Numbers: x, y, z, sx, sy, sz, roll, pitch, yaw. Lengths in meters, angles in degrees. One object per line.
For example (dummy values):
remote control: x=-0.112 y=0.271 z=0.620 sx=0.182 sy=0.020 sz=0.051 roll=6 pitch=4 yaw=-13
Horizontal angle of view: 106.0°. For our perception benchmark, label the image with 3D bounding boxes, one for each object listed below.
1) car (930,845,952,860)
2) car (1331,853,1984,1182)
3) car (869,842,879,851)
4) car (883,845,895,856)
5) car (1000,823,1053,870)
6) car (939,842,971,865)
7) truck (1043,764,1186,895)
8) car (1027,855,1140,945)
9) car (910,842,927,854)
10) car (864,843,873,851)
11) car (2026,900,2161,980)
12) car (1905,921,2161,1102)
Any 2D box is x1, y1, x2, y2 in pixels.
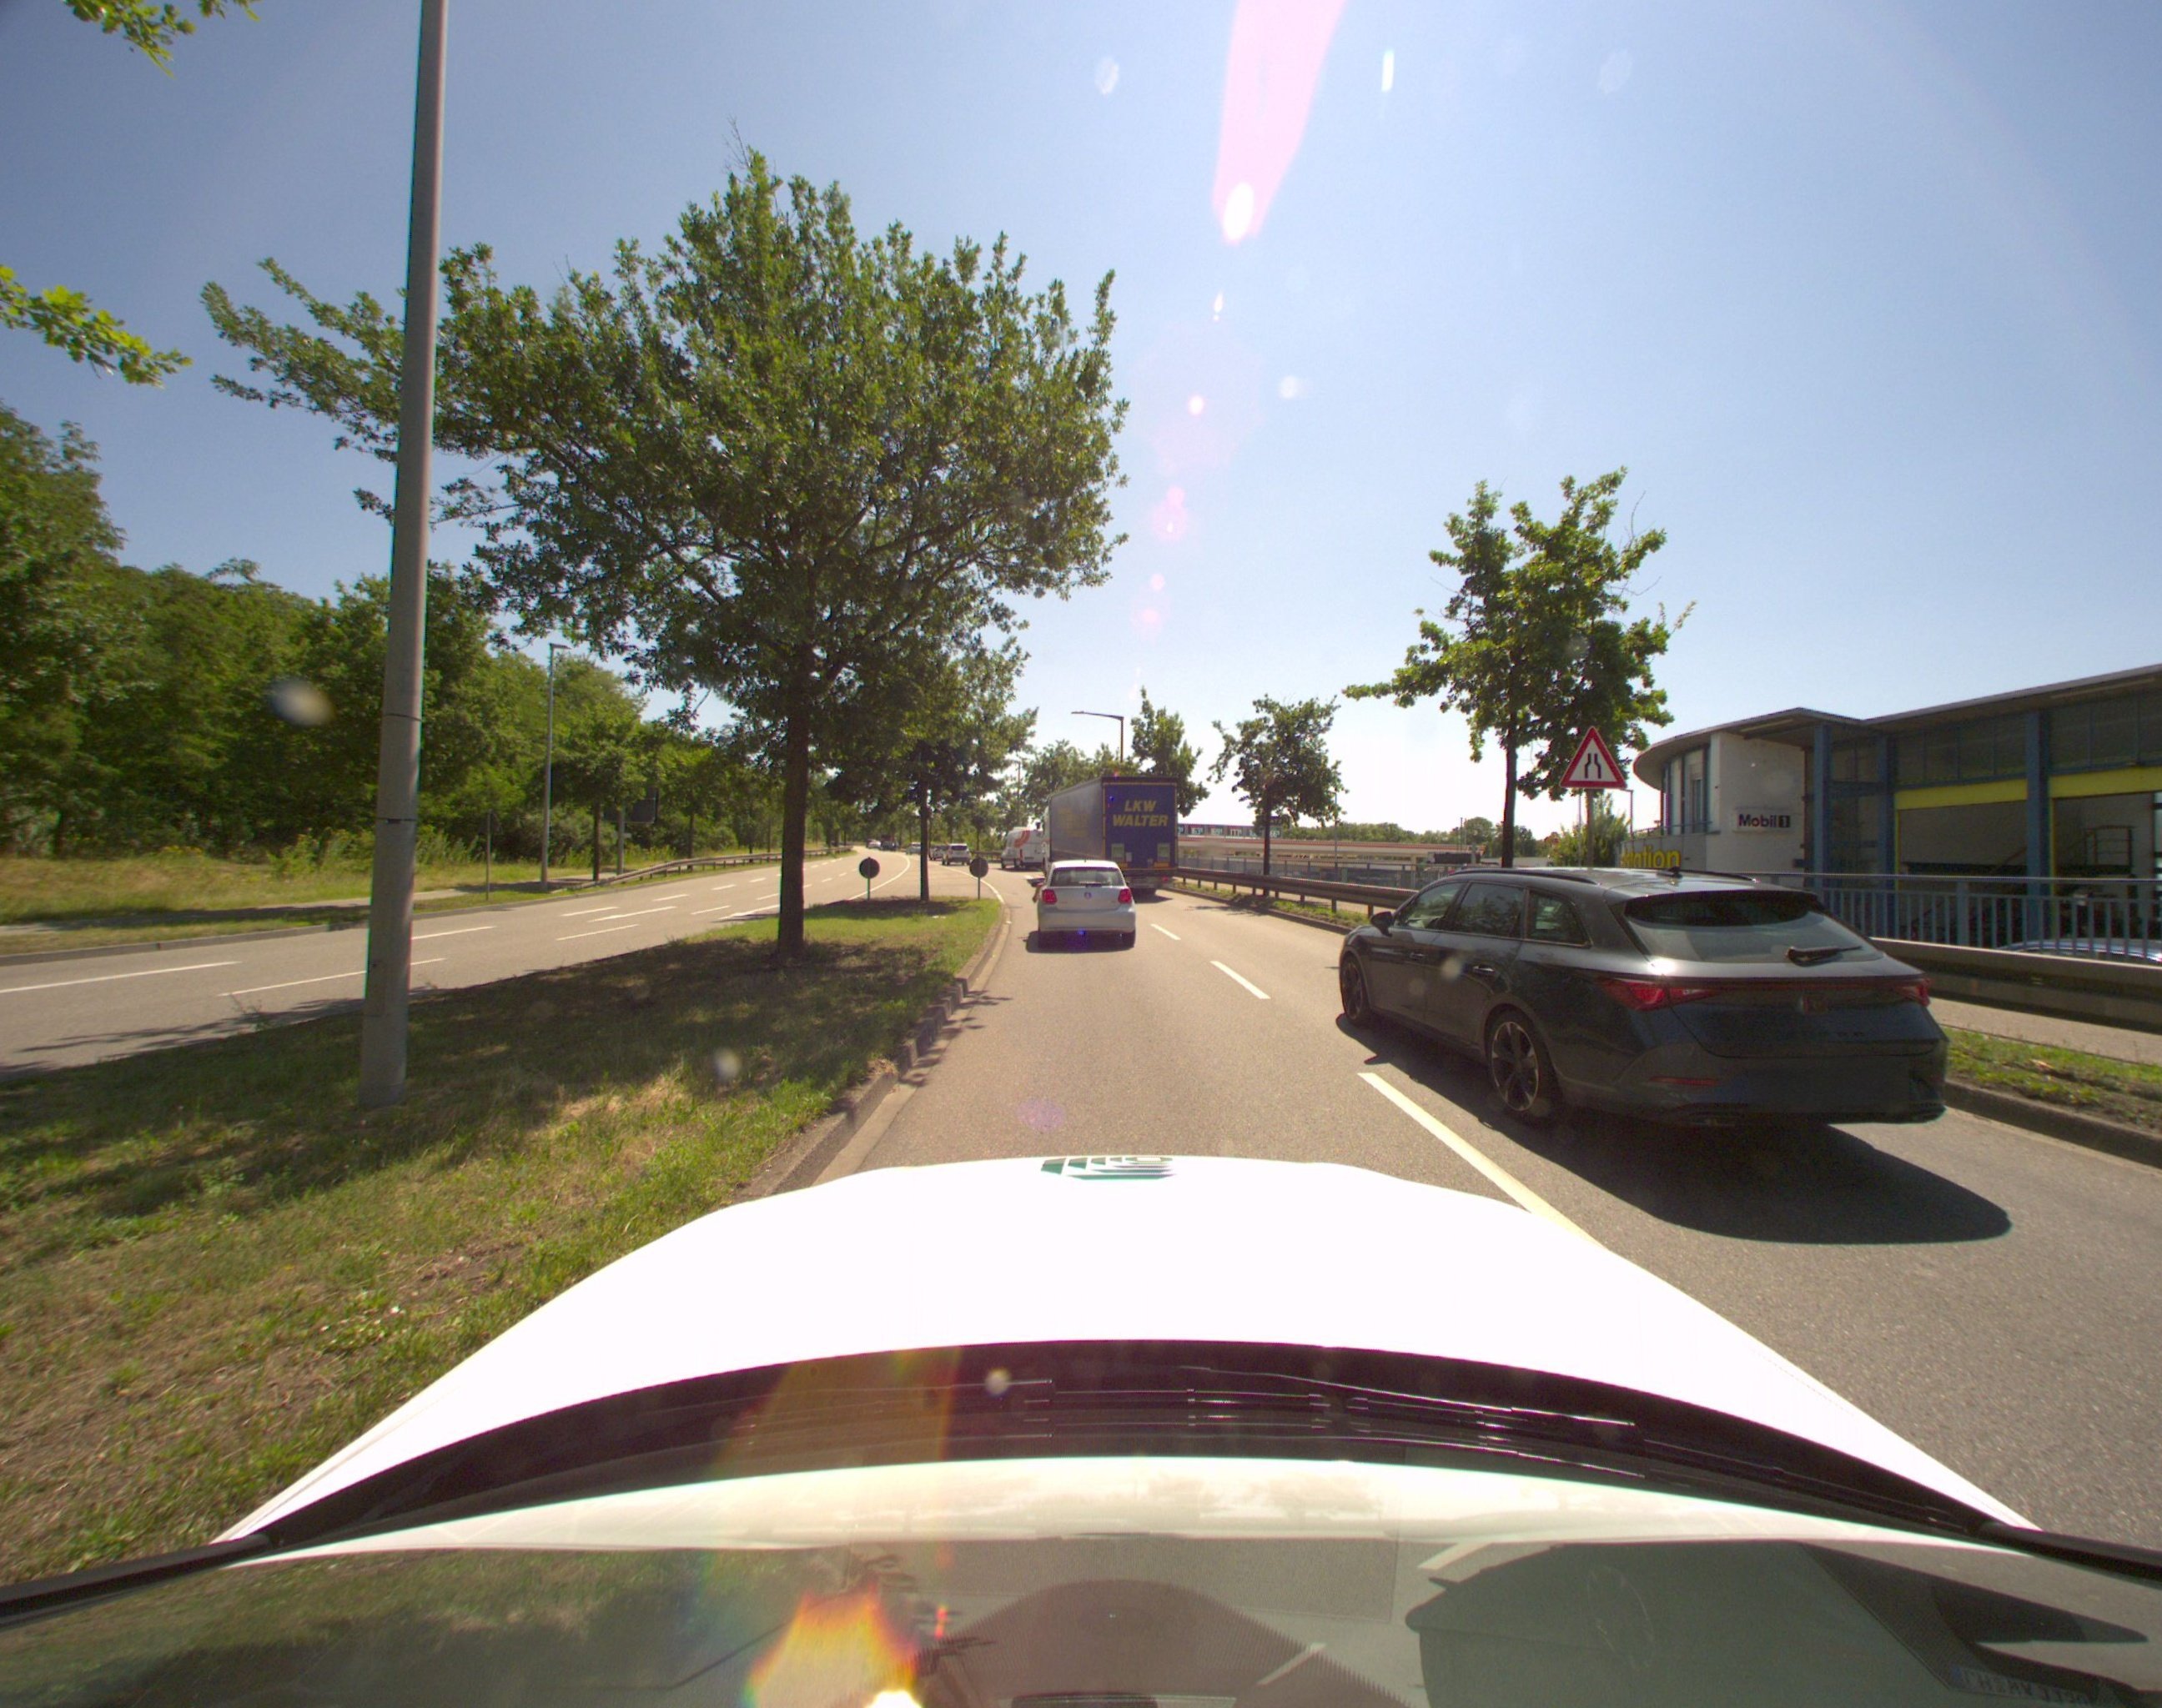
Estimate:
car: x=-13.063 y=-0.140 z=75.981 sx=1.498 sy=1.360 sz=3.640 roll=1 pitch=0 yaw=-18
car: x=3.237 y=0.769 z=5.765 sx=1.600 sy=1.456 sz=4.233 roll=0 pitch=-1 yaw=-1
car: x=-33.136 y=-1.188 z=130.357 sx=1.458 sy=1.314 sz=3.620 roll=1 pitch=-1 yaw=-14
car: x=-27.491 y=-0.483 z=116.474 sx=1.667 sy=1.465 sz=3.564 roll=1 pitch=-1 yaw=-13
car: x=-3.723 y=-0.499 z=54.286 sx=2.180 sy=2.900 sz=6.324 roll=1 pitch=1 yaw=-16
car: x=-9.825 y=-0.016 z=63.461 sx=1.908 sy=1.718 sz=4.199 roll=1 pitch=-1 yaw=-17
truck: x=0.730 y=-0.745 z=34.618 sx=2.832 sy=4.198 sz=16.421 roll=0 pitch=0 yaw=-9
car: x=-0.071 y=0.770 z=14.897 sx=1.644 sy=1.439 sz=3.528 roll=1 pitch=-1 yaw=-7
car: x=-19.569 y=-0.718 z=97.852 sx=1.612 sy=1.360 sz=3.641 roll=1 pitch=0 yaw=-18
car: x=-37.773 y=-1.198 z=144.601 sx=1.419 sy=1.314 sz=3.321 roll=1 pitch=-1 yaw=-13
car: x=24.774 y=1.968 z=19.076 sx=3.663 sy=1.684 sz=1.647 roll=0 pitch=-1 yaw=-6
car: x=10.857 y=1.548 z=7.990 sx=1.627 sy=1.532 sz=3.899 roll=0 pitch=-1 yaw=0
